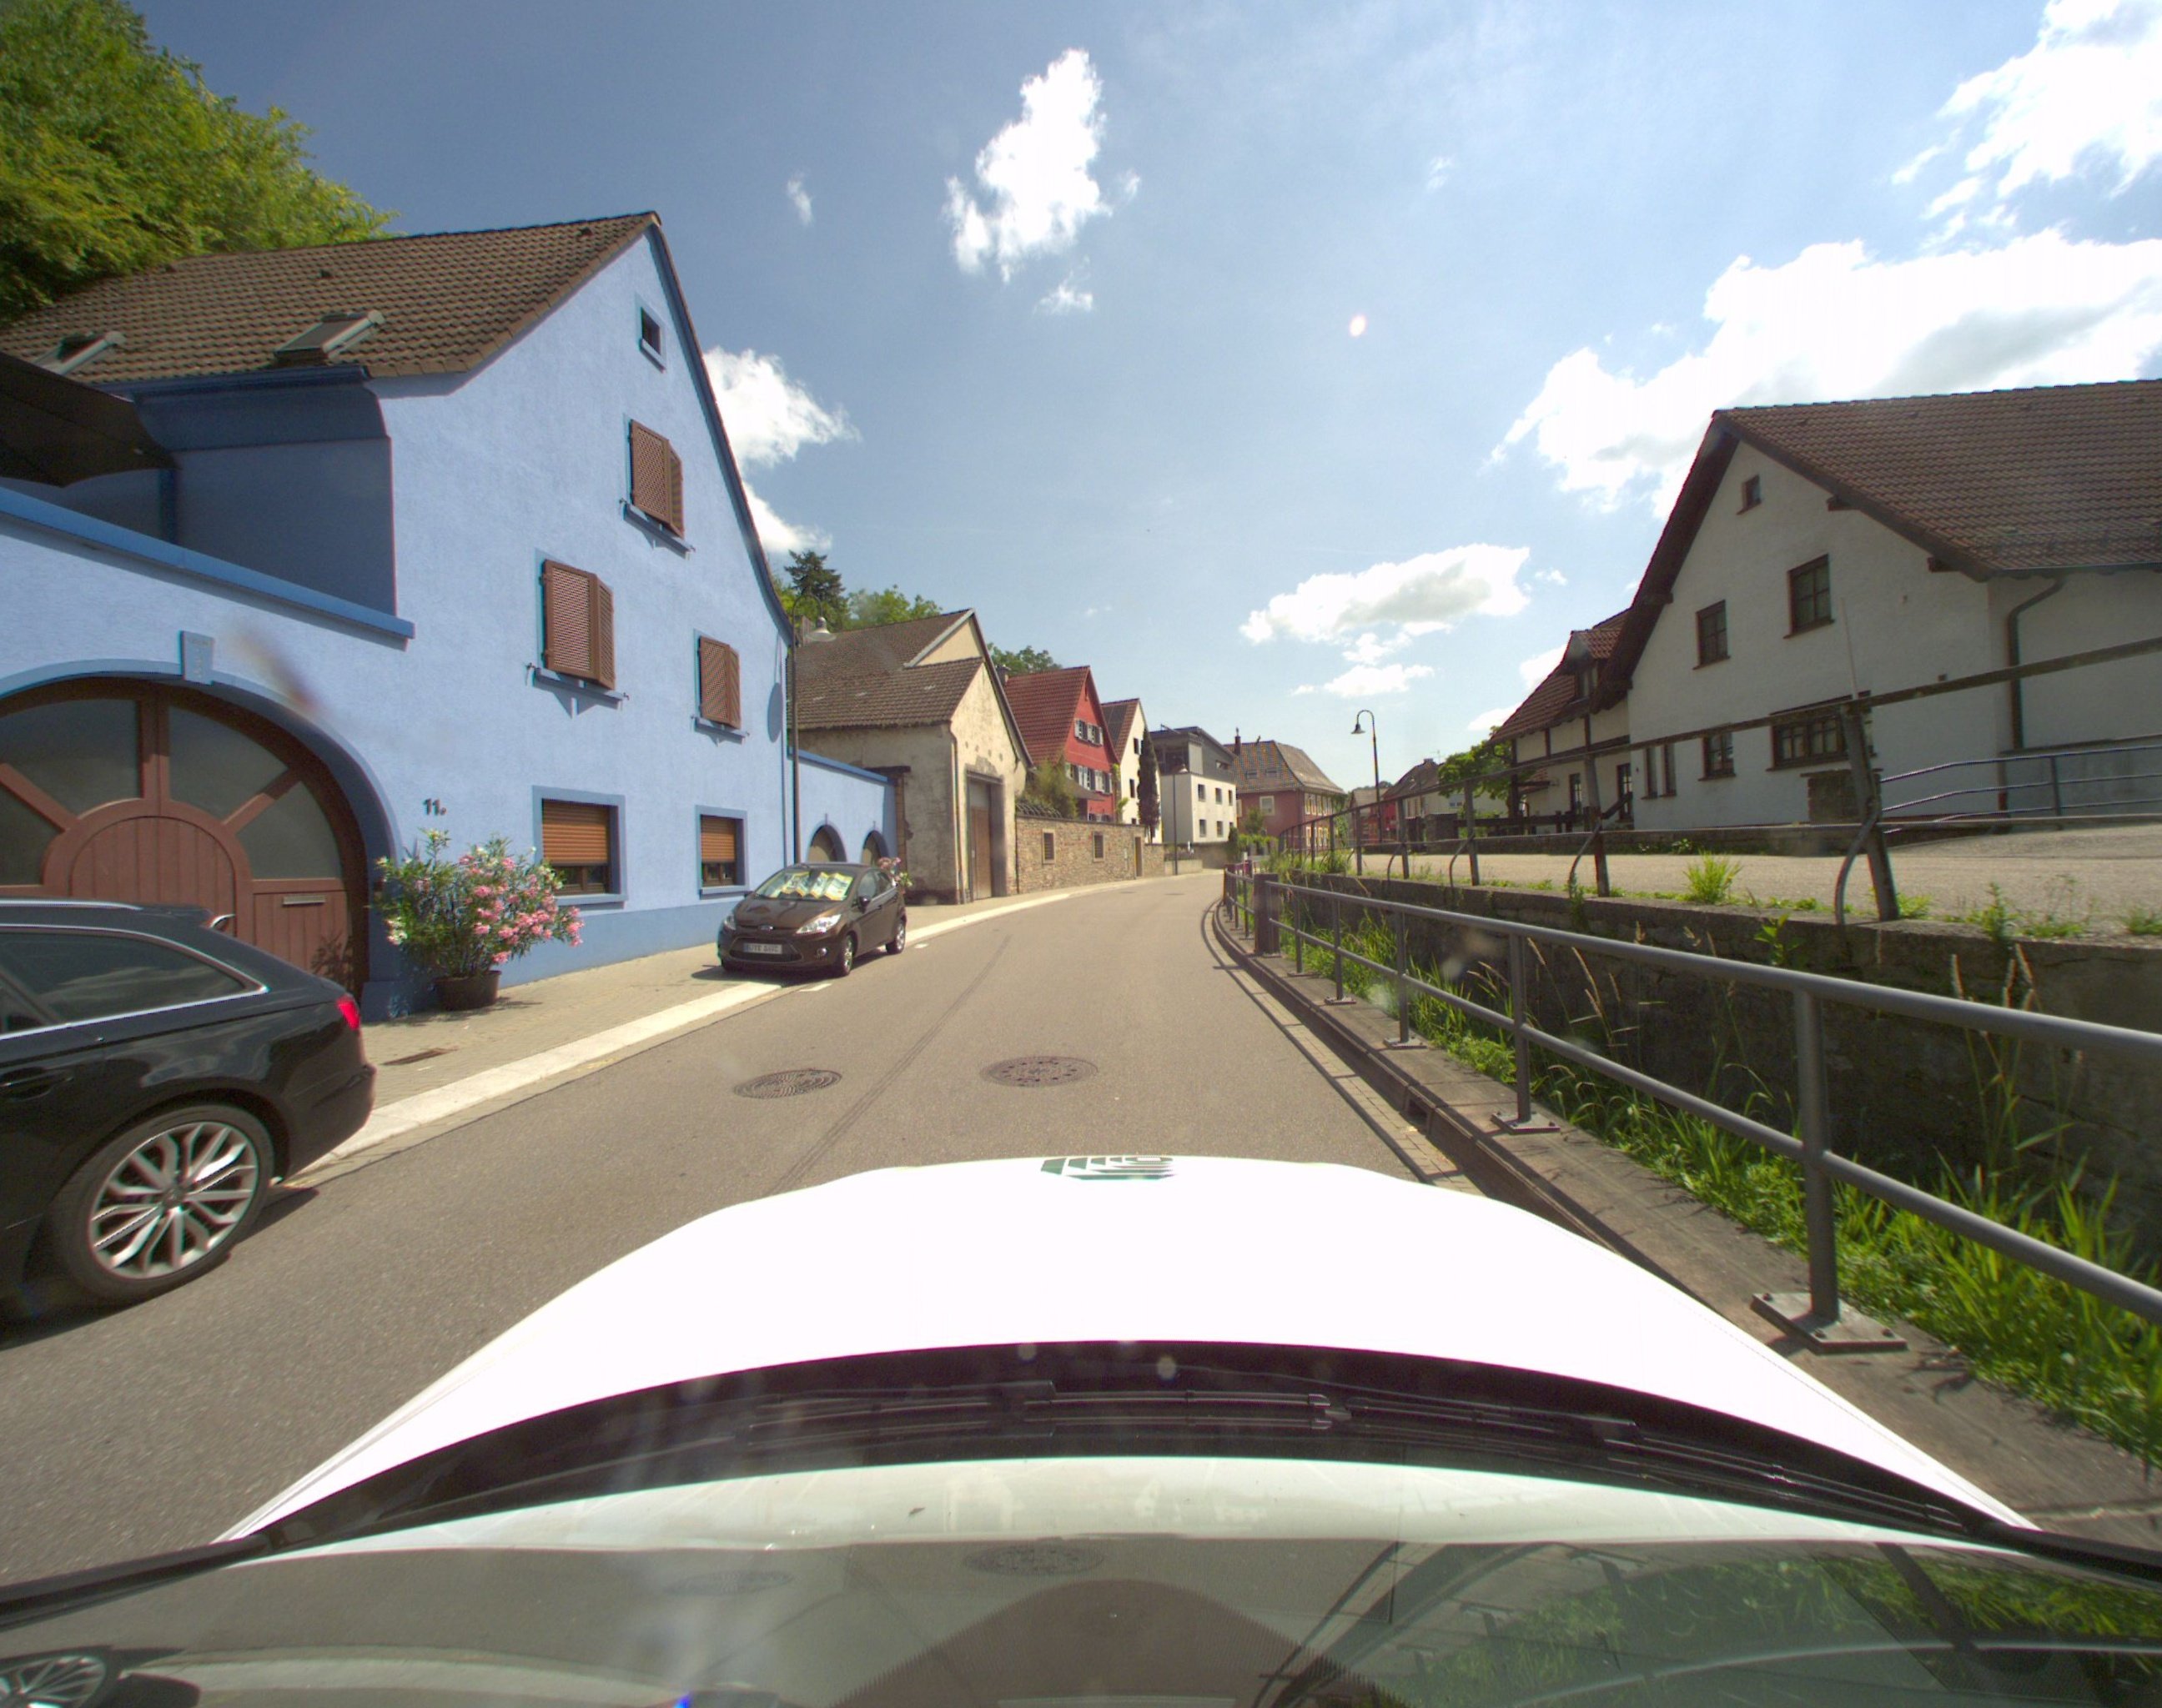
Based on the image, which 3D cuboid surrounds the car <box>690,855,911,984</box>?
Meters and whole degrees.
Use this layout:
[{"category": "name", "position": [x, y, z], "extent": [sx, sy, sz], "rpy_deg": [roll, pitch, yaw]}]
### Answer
[{"category": "car", "position": [-3.810, 0.793, 11.807], "extent": [1.710, 1.530, 3.858], "rpy_deg": [0, 0, 2]}]

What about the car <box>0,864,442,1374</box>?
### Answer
[{"category": "car", "position": [-4.217, 0.816, 1.675], "extent": [1.876, 1.464, 4.674], "rpy_deg": [1, 1, 4]}]
